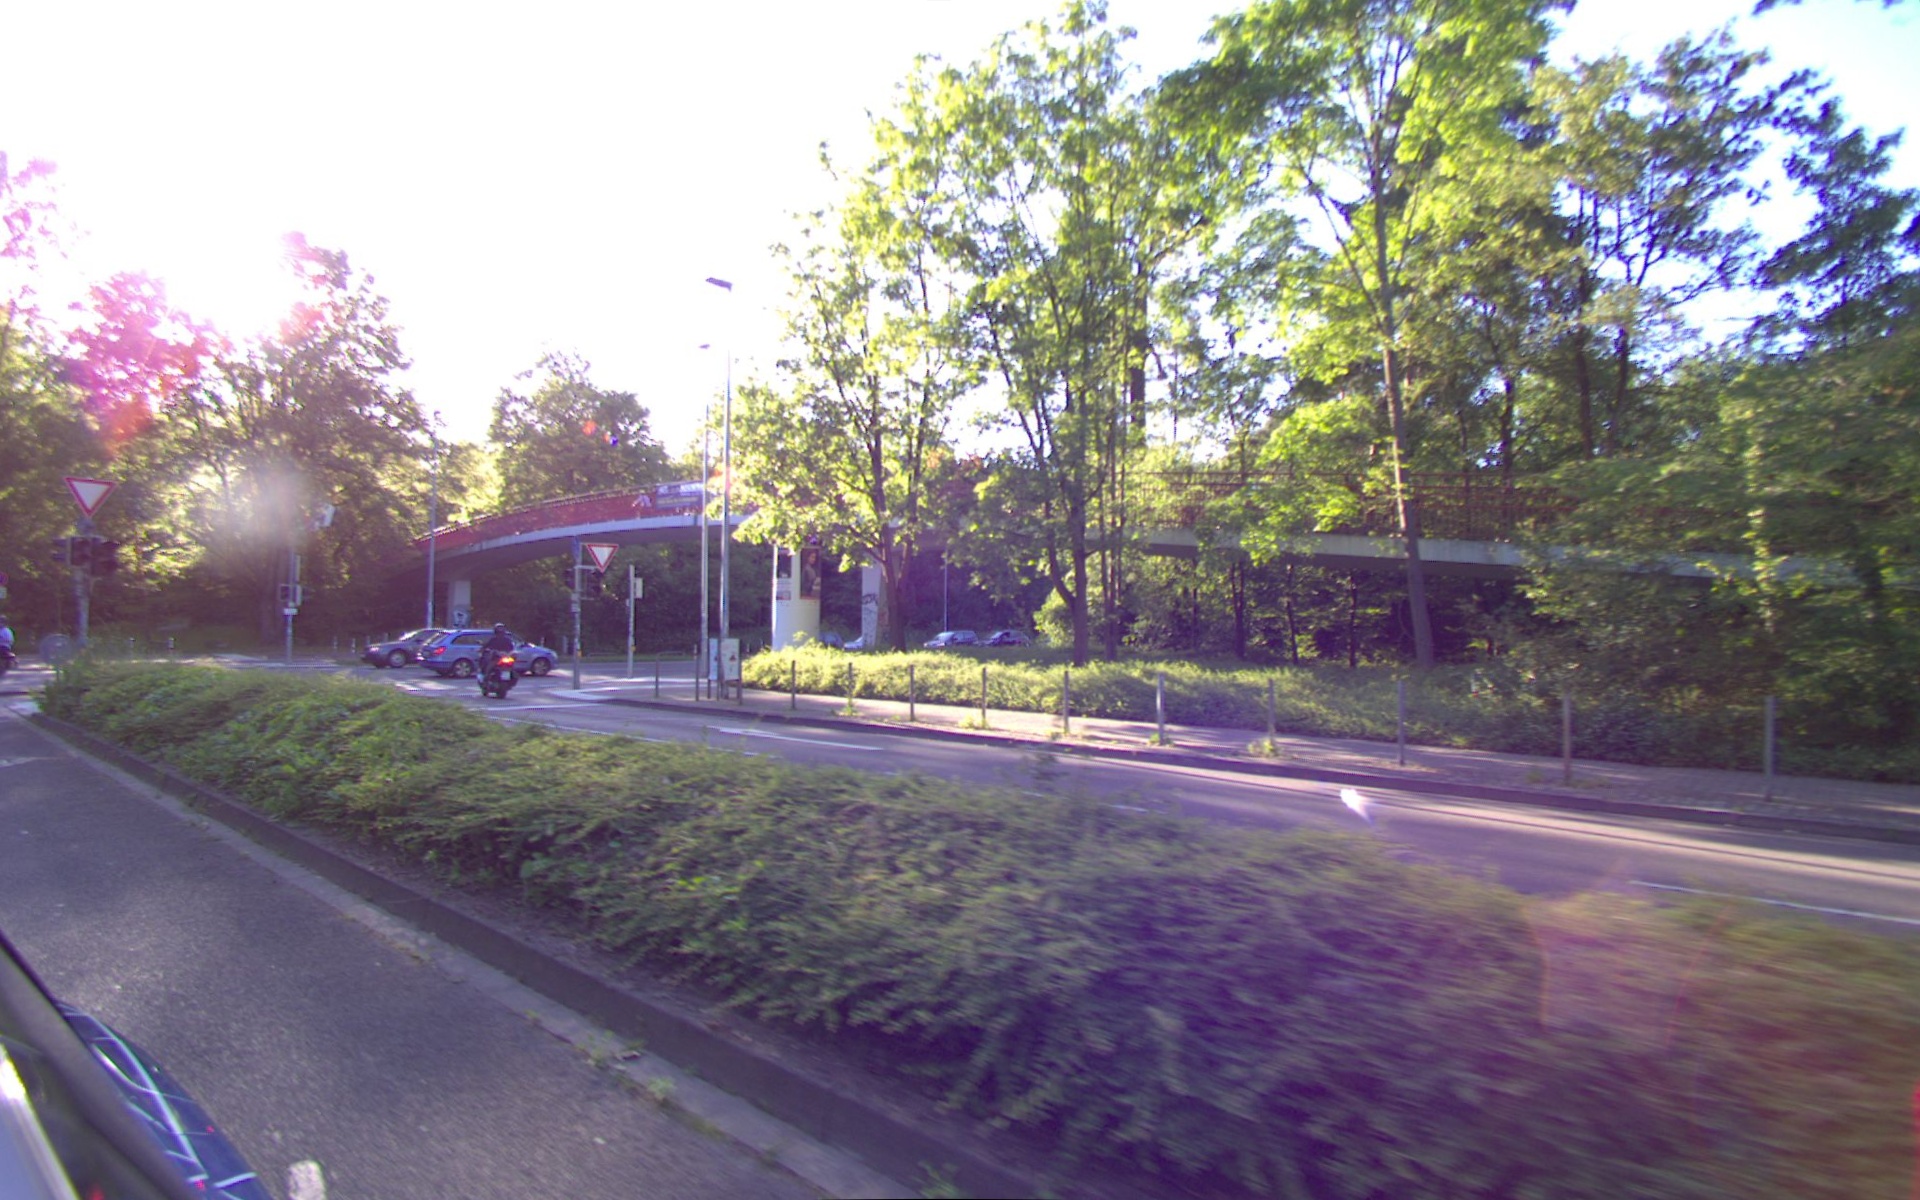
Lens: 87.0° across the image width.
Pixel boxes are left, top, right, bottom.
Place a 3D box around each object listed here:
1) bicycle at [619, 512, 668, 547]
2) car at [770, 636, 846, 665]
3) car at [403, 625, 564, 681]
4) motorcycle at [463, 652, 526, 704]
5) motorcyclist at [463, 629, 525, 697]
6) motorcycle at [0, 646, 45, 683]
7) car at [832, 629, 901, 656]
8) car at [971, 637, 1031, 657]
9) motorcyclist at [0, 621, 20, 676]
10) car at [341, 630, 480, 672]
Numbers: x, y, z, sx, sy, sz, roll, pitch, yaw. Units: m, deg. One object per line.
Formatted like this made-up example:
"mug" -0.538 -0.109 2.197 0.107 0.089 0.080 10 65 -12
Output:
"bicycle" -13.982 -3.097 44.632 1.036 1.383 2.450 2 -1 -45
"car" -8.454 2.798 56.500 1.694 1.519 4.070 -1 -3 40
"car" -15.127 1.659 32.293 1.812 1.592 4.258 1 -1 42
"motorcycle" -10.559 1.738 22.928 2.289 1.077 0.517 -2 -3 45
"motorcyclist" -10.605 1.411 23.025 1.070 1.482 0.937 -2 -3 44
"motorcycle" -25.775 1.725 26.489 0.808 0.920 2.674 -2 -1 43
"car" -5.504 2.505 59.897 1.721 1.519 3.920 0 -2 42
"car" 2.654 2.993 64.517 1.737 1.254 3.944 -2 -3 42
"motorcyclist" -25.793 1.282 26.564 1.138 1.438 1.545 -2 -1 42
"car" -19.580 1.809 36.177 1.869 1.400 3.944 -1 -3 42
